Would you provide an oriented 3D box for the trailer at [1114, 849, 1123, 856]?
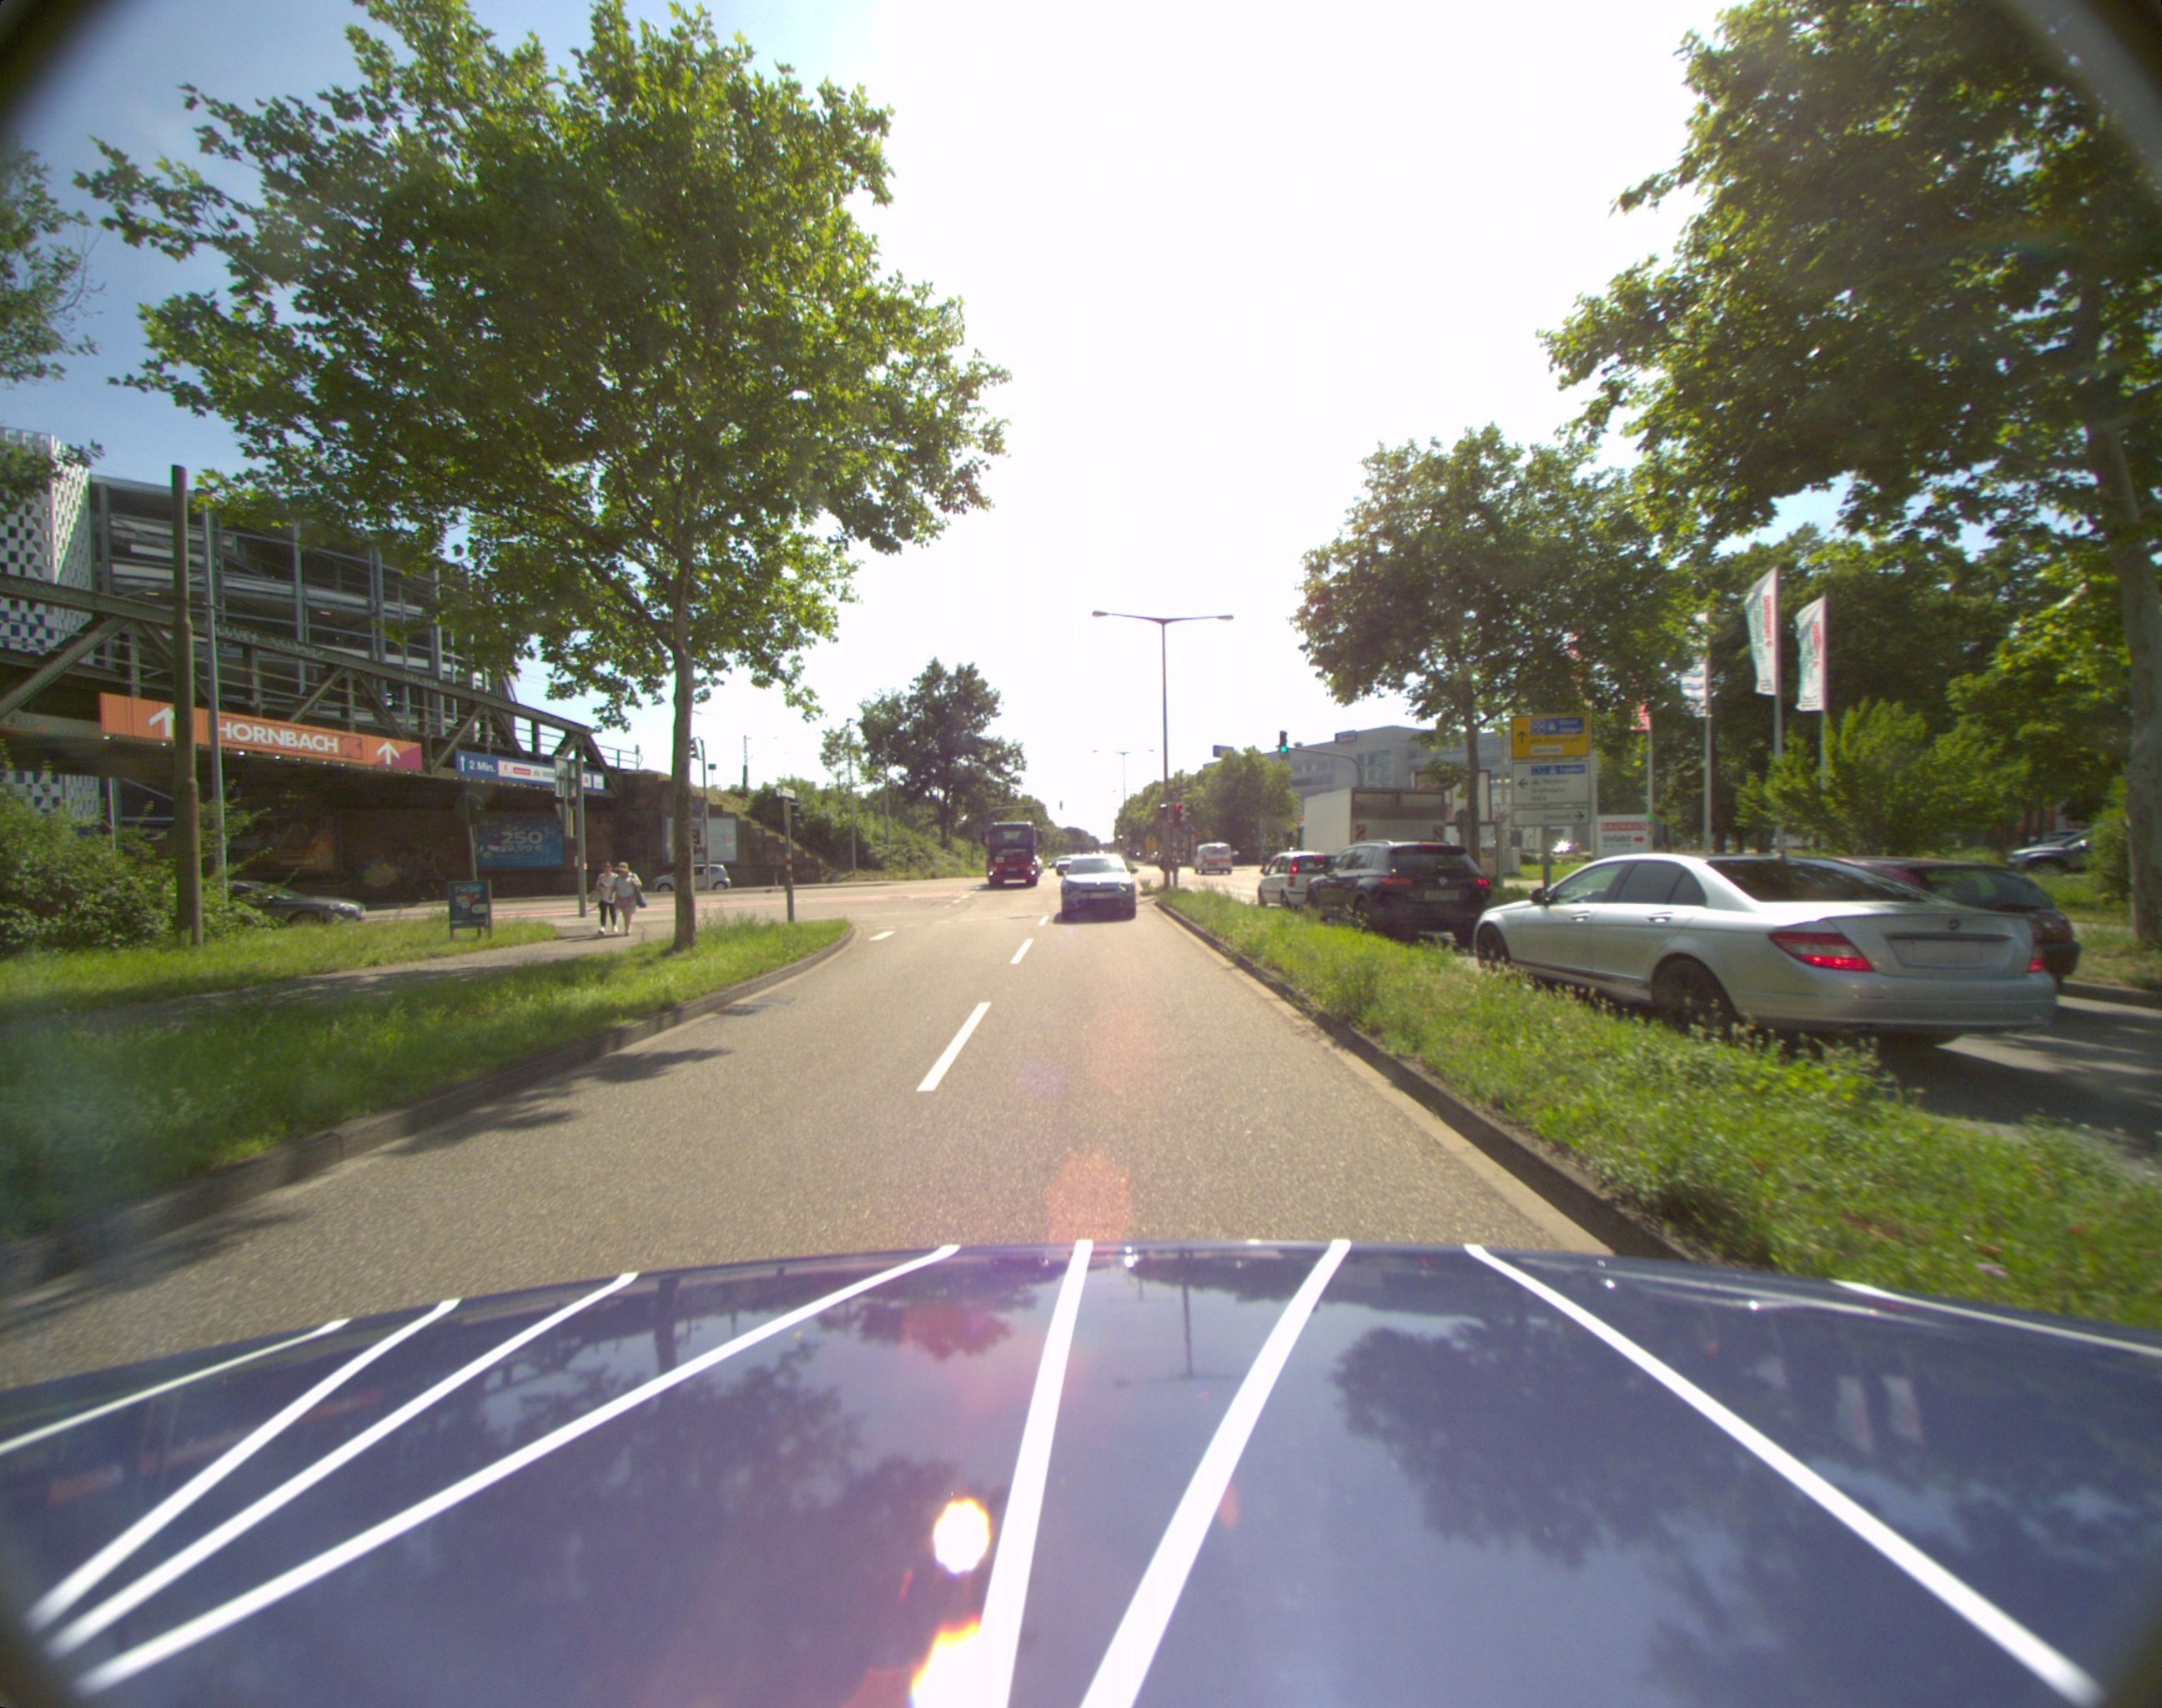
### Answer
[{"bbox_3d":[9.964,-0.306,200.012,2.066,1.706,3.993,-1,0,8],"label":"trailer"}]

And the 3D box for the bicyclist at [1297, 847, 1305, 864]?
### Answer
[{"bbox_3d":[18.470,0.163,63.750,0.528,1.406,0.610,-1,1,9],"label":"bicyclist"}]

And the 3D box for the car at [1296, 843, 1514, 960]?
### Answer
[{"bbox_3d":[5.278,0.648,13.174,1.824,1.637,4.693,0,1,1],"label":"car"}]

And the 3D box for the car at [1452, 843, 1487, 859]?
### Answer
[{"bbox_3d":[42.585,-0.357,83.274,4.008,1.689,1.995,-1,0,-41],"label":"car"}]

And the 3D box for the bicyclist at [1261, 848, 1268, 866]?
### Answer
[{"bbox_3d":[15.418,0.220,63.882,0.528,1.483,0.609,-2,1,7],"label":"bicyclist"}]

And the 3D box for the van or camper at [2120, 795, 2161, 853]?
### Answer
[{"bbox_3d":[60.402,-1.701,42.309,6.335,3.082,2.705,-2,1,-34],"label":"van or camper"}]

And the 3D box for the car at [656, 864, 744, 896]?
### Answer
[{"bbox_3d":[-18.828,1.251,37.552,3.684,1.429,1.702,-1,0,-32],"label":"car"}]

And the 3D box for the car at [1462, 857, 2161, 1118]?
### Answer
[{"bbox_3d":[5.297,0.766,6.573,1.801,1.459,4.523,0,0,1],"label":"car"}]

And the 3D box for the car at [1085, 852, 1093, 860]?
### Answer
[{"bbox_3d":[2.027,0.397,194.042,1.998,2.002,4.000,-1,0,1],"label":"car"}]

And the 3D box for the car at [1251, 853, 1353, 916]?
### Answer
[{"bbox_3d":[5.554,0.708,19.526,1.597,1.468,3.729,0,0,1],"label":"car"}]

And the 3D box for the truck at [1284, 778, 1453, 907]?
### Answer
[{"bbox_3d":[8.656,-0.293,23.864,2.811,3.451,6.691,0,0,0],"label":"truck"}]

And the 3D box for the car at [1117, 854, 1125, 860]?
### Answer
[{"bbox_3d":[9.632,0.716,181.703,1.653,1.505,3.736,-2,0,1],"label":"car"}]

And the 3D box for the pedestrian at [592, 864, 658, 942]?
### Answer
[{"bbox_3d":[-9.736,1.027,16.251,0.870,1.602,0.777,-2,0,0],"label":"pedestrian"}]

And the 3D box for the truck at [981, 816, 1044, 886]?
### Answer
[{"bbox_3d":[-3.449,-0.140,39.971,2.776,3.248,7.481,-1,0,-2],"label":"truck"}]

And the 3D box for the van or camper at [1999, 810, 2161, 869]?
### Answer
[{"bbox_3d":[40.782,-0.549,30.023,2.200,2.197,5.505,-2,1,-33],"label":"van or camper"}]

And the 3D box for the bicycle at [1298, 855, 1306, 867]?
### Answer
[{"bbox_3d":[18.464,0.575,63.578,0.434,0.932,1.752,-1,0,9],"label":"bicycle"}]

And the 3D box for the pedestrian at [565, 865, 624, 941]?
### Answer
[{"bbox_3d":[-10.557,1.048,16.502,0.731,1.570,0.777,-2,0,0],"label":"pedestrian"}]

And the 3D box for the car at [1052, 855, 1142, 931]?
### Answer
[{"bbox_3d":[0.411,0.826,18.217,1.826,1.521,4.752,-2,0,2],"label":"car"}]

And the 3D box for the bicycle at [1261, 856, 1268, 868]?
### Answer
[{"bbox_3d":[15.431,0.679,63.934,0.417,0.932,1.998,-2,0,8],"label":"bicycle"}]

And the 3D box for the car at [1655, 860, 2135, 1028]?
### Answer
[{"bbox_3d":[8.546,0.810,8.503,1.568,1.444,3.545,1,0,1],"label":"car"}]

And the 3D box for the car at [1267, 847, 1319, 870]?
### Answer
[{"bbox_3d":[22.285,0.457,80.054,5.034,2.265,2.153,-1,0,9],"label":"car"}]

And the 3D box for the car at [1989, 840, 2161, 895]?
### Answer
[{"bbox_3d":[31.558,0.396,23.371,2.205,1.563,4.564,-2,1,-42],"label":"car"}]

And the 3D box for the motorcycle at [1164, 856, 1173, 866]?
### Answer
[{"bbox_3d":[8.835,0.659,76.641,0.689,0.985,2.217,-2,0,1],"label":"motorcycle"}]

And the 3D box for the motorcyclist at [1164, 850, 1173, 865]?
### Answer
[{"bbox_3d":[8.816,0.312,76.554,0.745,1.462,0.987,-2,0,1],"label":"motorcyclist"}]

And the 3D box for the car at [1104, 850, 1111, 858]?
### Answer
[{"bbox_3d":[7.231,0.048,208.091,1.998,2.002,4.000,-2,0,1],"label":"car"}]

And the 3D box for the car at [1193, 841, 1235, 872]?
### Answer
[{"bbox_3d":[8.915,0.180,51.342,1.981,1.987,5.031,1,0,1],"label":"car"}]

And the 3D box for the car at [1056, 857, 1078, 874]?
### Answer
[{"bbox_3d":[-1.314,1.054,73.747,1.826,1.521,4.548,-2,0,2],"label":"car"}]

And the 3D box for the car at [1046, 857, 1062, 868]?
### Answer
[{"bbox_3d":[-3.656,1.156,104.226,1.826,1.521,4.548,-2,0,2],"label":"car"}]

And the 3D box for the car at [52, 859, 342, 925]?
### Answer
[{"bbox_3d":[-22.564,0.917,19.742,4.509,1.400,1.995,-2,0,-35],"label":"car"}]
